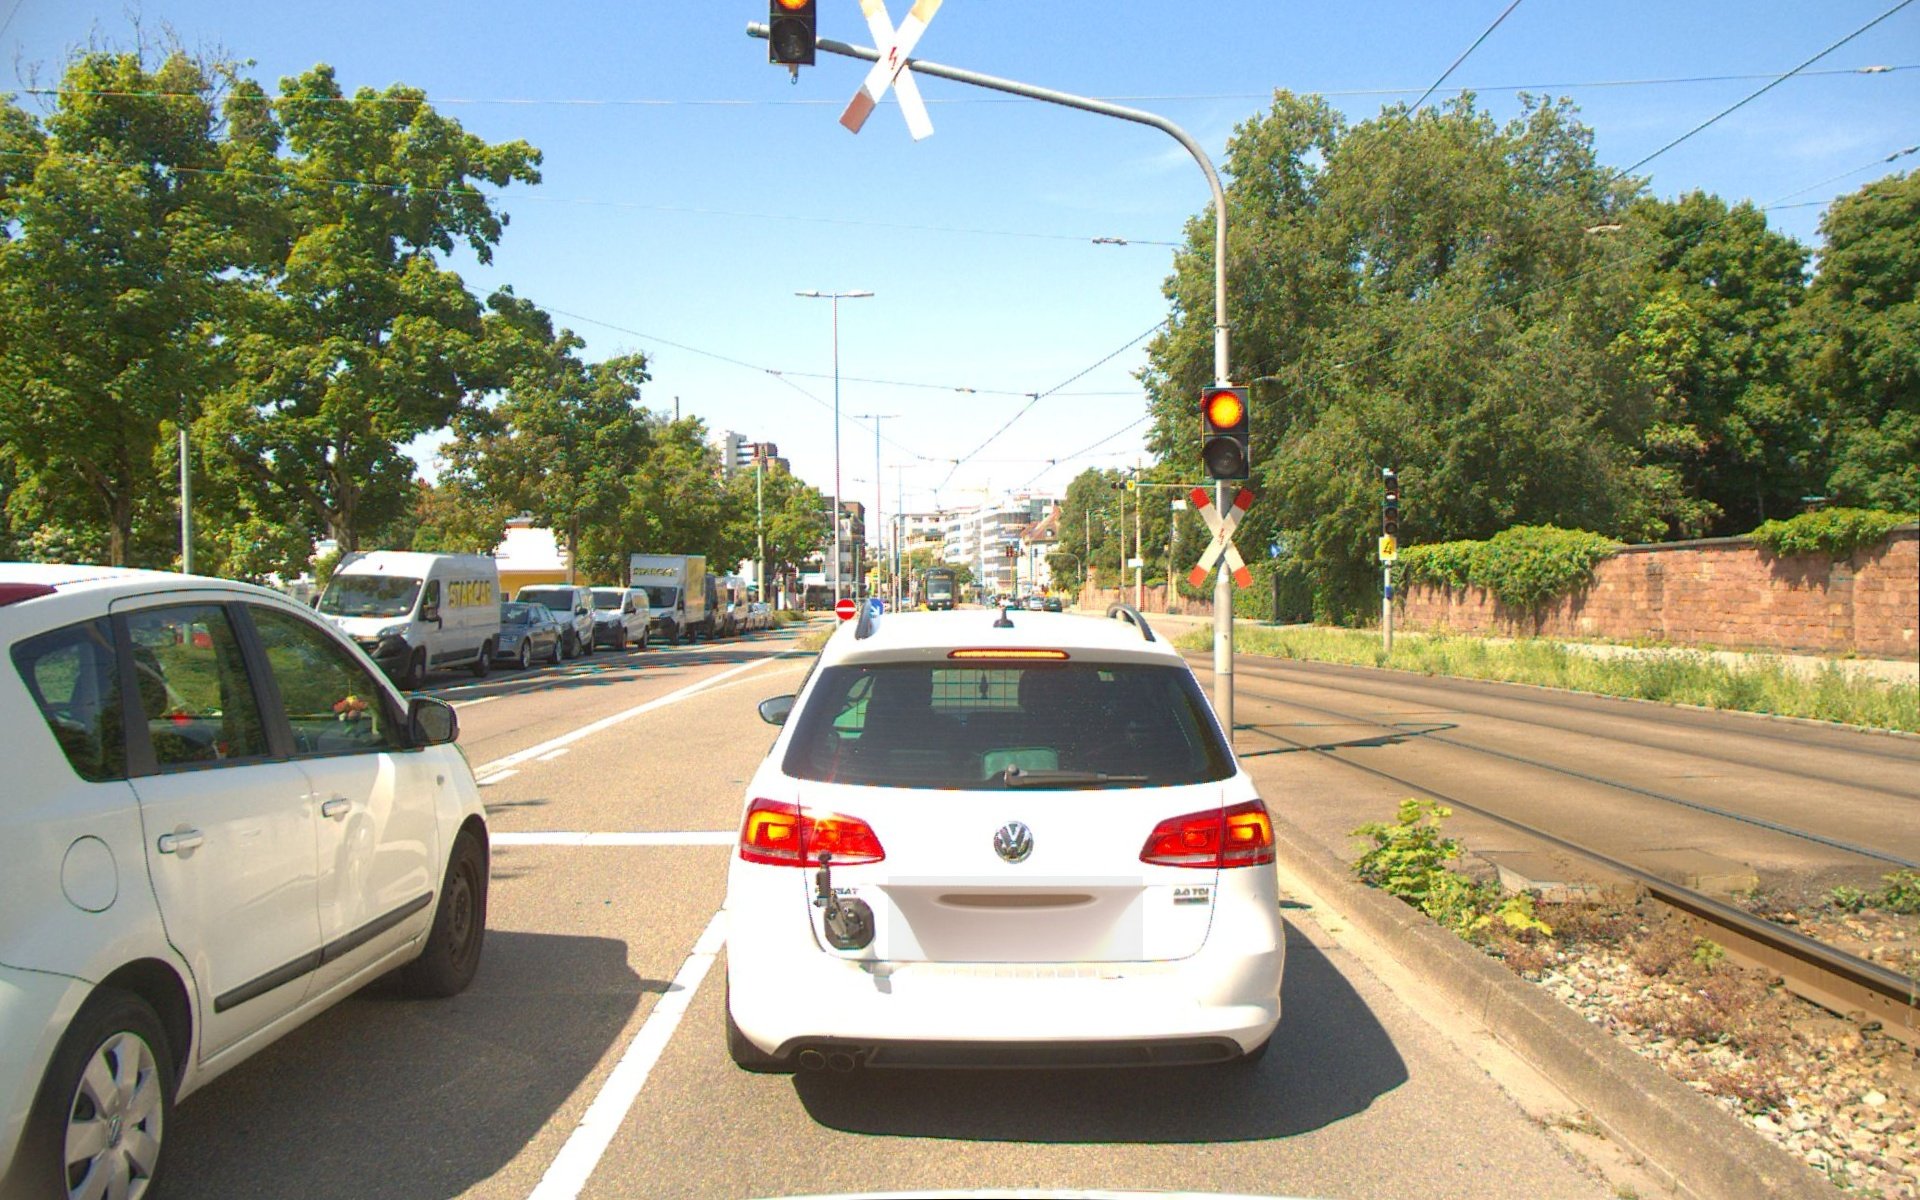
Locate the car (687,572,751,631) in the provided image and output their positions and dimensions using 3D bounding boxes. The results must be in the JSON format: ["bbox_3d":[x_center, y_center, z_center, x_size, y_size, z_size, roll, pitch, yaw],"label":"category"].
[{"bbox_3d":[-10.958,0.049,75.582,2.079,2.560,5.733,1,0,0],"label":"car"}]

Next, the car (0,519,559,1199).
[{"bbox_3d":[-2.594,0.630,5.170,1.628,1.575,4.546,0,0,-1],"label":"car"}]

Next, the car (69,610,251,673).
[{"bbox_3d":[-21.089,1.082,43.732,3.909,1.440,1.728,-2,0,-5],"label":"car"}]

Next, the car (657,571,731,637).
[{"bbox_3d":[-10.887,0.147,68.146,2.079,2.560,5.733,1,0,0],"label":"car"}]

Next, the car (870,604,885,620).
[{"bbox_3d":[-10.187,1.440,204.776,1.726,1.929,4.913,1,0,-1],"label":"car"}]

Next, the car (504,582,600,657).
[{"bbox_3d":[-11.064,0.483,45.126,1.827,1.900,5.068,1,0,-6],"label":"car"}]

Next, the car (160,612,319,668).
[{"bbox_3d":[-21.258,1.164,48.929,3.909,1.440,1.728,-2,0,-5],"label":"car"}]

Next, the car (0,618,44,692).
[{"bbox_3d":[-20.718,1.171,32.924,3.909,1.440,1.728,-2,0,-5],"label":"car"}]

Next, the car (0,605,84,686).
[{"bbox_3d":[-21.062,1.013,35.118,3.909,1.638,1.728,-2,0,-5],"label":"car"}]

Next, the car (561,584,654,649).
[{"bbox_3d":[-10.944,0.479,51.722,1.826,1.900,5.412,1,0,-1],"label":"car"}]

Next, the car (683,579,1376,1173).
[{"bbox_3d":[0.152,0.687,6.188,1.726,1.455,3.999,-1,0,-1],"label":"car"}]

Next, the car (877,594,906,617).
[{"bbox_3d":[-4.588,0.337,111.693,1.670,1.499,4.589,-1,0,0],"label":"car"}]

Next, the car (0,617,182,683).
[{"bbox_3d":[-21.792,1.226,41.236,3.909,1.440,1.728,-2,0,-5],"label":"car"}]

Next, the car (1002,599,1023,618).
[{"bbox_3d":[5.513,0.906,173.178,1.826,1.900,5.060,1,0,-2],"label":"car"}]

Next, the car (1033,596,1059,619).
[{"bbox_3d":[7.301,0.612,140.917,1.826,1.900,5.060,1,0,-2],"label":"car"}]

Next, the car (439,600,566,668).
[{"bbox_3d":[-10.595,0.755,38.601,1.826,1.440,4.278,1,0,-1],"label":"car"}]

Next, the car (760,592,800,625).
[{"bbox_3d":[-10.669,0.476,98.423,1.826,1.900,5.412,1,0,-1],"label":"car"}]

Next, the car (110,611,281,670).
[{"bbox_3d":[-21.270,1.117,46.112,3.909,1.440,1.728,-2,0,-5],"label":"car"}]

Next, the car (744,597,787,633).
[{"bbox_3d":[-10.731,0.790,91.505,1.826,1.900,5.412,1,0,-1],"label":"car"}]

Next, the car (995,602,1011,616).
[{"bbox_3d":[5.984,1.271,231.048,1.826,1.900,5.060,1,0,-2],"label":"car"}]

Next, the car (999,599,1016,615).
[{"bbox_3d":[6.097,0.858,212.208,1.826,1.900,5.060,1,0,-2],"label":"car"}]

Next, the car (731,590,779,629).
[{"bbox_3d":[-10.458,0.445,84.696,1.826,1.900,5.412,1,0,-1],"label":"car"}]

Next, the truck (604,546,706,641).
[{"bbox_3d":[-10.975,-0.232,60.147,2.371,3.205,6.996,1,0,0],"label":"truck"}]

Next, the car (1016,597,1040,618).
[{"bbox_3d":[6.436,0.725,157.063,1.826,1.900,5.060,1,0,-2],"label":"car"}]

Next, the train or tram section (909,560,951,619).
[{"bbox_3d":[-2.120,-0.739,118.162,2.812,3.923,12.389,-1,0,-1],"label":"train or tram section"}]

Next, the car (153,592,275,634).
[{"bbox_3d":[-34.448,0.593,76.478,4.698,1.819,2.062,1,0,-5],"label":"car"}]

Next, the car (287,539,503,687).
[{"bbox_3d":[-10.797,0.217,32.159,2.079,2.560,5.817,1,0,1],"label":"car"}]

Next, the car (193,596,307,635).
[{"bbox_3d":[-34.870,0.763,81.304,4.698,1.819,2.062,1,0,-5],"label":"car"}]

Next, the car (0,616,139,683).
[{"bbox_3d":[-21.601,1.169,38.635,3.909,1.440,1.728,-2,0,-5],"label":"car"}]

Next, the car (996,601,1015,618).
[{"bbox_3d":[5.171,1.055,189.561,1.826,1.900,5.060,1,0,-2],"label":"car"}]

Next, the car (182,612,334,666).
[{"bbox_3d":[-21.690,1.192,51.220,3.909,1.440,1.728,-2,0,-5],"label":"car"}]

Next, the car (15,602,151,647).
[{"bbox_3d":[-37.788,1.058,71.381,4.698,1.819,2.062,1,0,-5],"label":"car"}]
